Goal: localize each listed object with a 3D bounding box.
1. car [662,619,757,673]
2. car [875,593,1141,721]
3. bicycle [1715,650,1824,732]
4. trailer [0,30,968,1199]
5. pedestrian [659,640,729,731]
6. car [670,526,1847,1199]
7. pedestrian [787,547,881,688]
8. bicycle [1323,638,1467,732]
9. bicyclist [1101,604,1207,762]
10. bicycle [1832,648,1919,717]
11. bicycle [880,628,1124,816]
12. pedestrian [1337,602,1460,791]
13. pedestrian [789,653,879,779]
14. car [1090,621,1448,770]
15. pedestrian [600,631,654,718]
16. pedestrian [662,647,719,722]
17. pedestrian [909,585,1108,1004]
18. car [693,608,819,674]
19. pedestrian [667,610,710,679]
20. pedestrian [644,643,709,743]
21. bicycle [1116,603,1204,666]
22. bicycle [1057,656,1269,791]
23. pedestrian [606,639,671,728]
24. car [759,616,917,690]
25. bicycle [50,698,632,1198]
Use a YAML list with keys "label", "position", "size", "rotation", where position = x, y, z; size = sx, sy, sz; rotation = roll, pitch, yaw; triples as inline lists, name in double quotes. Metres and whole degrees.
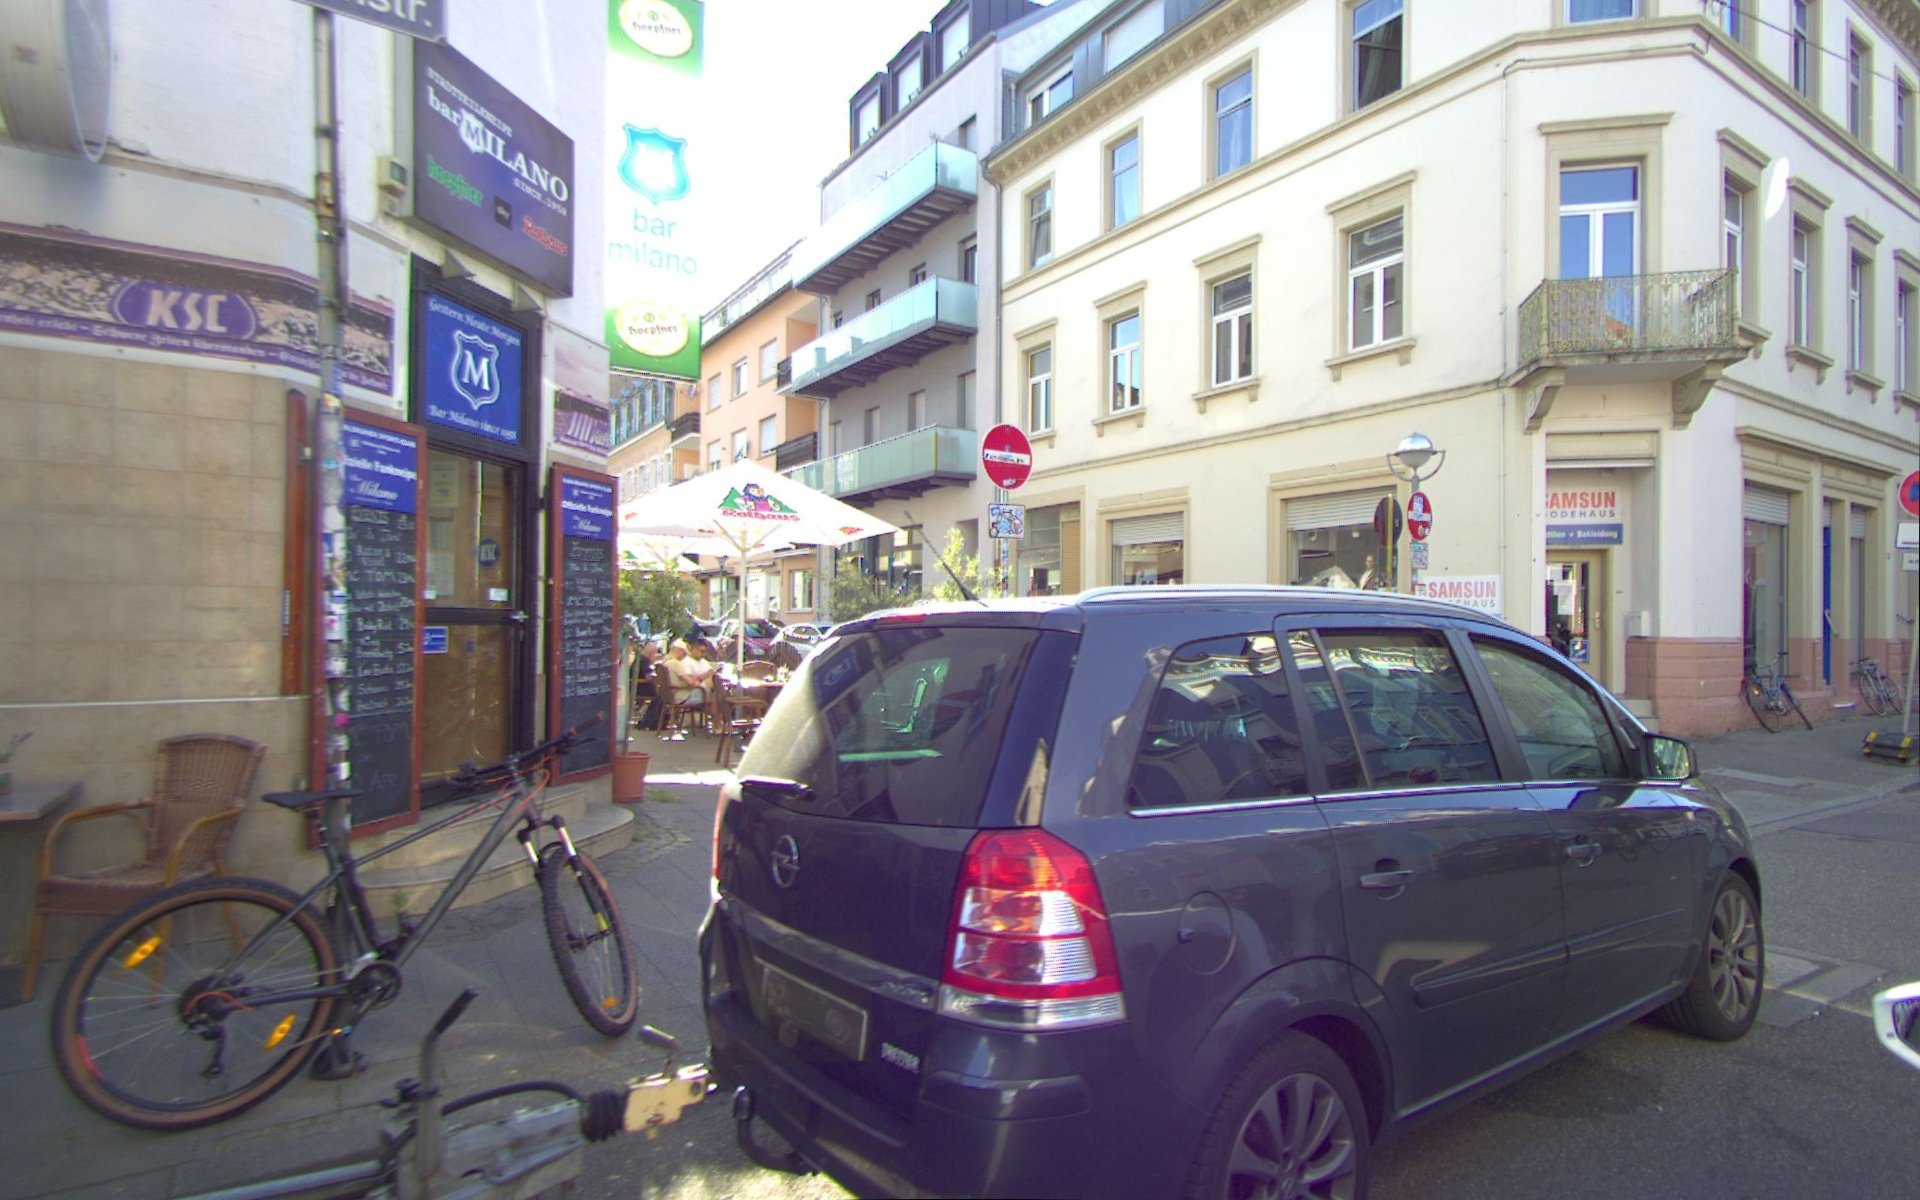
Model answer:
- label: "car"
  position: [-7.595, 1.340, 30.264]
  size: [1.583, 1.458, 3.548]
  rotation: [1, -1, -36]
- label: "car"
  position: [0.629, 0.855, 17.316]
  size: [1.839, 1.875, 5.050]
  rotation: [1, -1, -36]
- label: "bicycle"
  position: [11.274, 1.247, 13.975]
  size: [1.799, 1.036, 0.600]
  rotation: [2, 2, -33]
- label: "trailer"
  position: [-2.205, 0.465, 1.107]
  size: [4.322, 2.088, 1.650]
  rotation: [2, -3, -36]
- label: "pedestrian"
  position: [-3.579, 1.136, 13.547]
  size: [0.646, 1.160, 0.689]
  rotation: [2, 0, 11]
- label: "car"
  position: [1.302, 0.758, 3.471]
  size: [4.125, 1.626, 1.711]
  rotation: [1, -3, -35]
- label: "pedestrian"
  position: [-1.206, 0.165, 9.564]
  size: [0.652, 1.283, 0.683]
  rotation: [2, 0, -29]
- label: "bicycle"
  position: [6.093, 1.162, 14.202]
  size: [0.604, 1.164, 1.915]
  rotation: [2, 0, -26]
- label: "bicyclist"
  position: [1.898, 0.778, 9.797]
  size: [0.777, 1.455, 0.707]
  rotation: [0, -1, 38]
- label: "bicycle"
  position: [15.061, 1.334, 16.506]
  size: [1.798, 1.036, 0.618]
  rotation: [1, 0, -33]
- label: "bicycle"
  position: [0.272, 0.954, 8.818]
  size: [0.918, 1.377, 2.462]
  rotation: [1, -2, -32]
- label: "pedestrian"
  position: [4.327, 0.908, 9.920]
  size: [0.856, 1.725, 0.689]
  rotation: [-1, 5, -33]
- label: "pedestrian"
  position: [-1.400, 1.248, 11.120]
  size: [0.698, 1.283, 0.844]
  rotation: [2, 0, -29]
- label: "car"
  position: [3.655, 1.035, 12.568]
  size: [1.741, 1.475, 4.113]
  rotation: [1, -1, -34]
- label: "pedestrian"
  position: [-5.103, 1.134, 15.422]
  size: [0.603, 1.283, 0.660]
  rotation: [2, 0, -3]
- label: "pedestrian"
  position: [-4.080, 1.262, 15.191]
  size: [0.670, 1.068, 0.718]
  rotation: [2, 0, -29]
- label: "pedestrian"
  position: [0.200, 0.785, 4.412]
  size: [0.573, 1.666, 0.626]
  rotation: [3, -1, -26]
- label: "car"
  position: [-5.490, 1.017, 26.638]
  size: [1.753, 1.590, 4.370]
  rotation: [1, -1, -34]
- label: "pedestrian"
  position: [-6.806, 1.102, 25.178]
  size: [0.820, 1.672, 0.735]
  rotation: [2, 0, -35]
- label: "pedestrian"
  position: [-3.524, 1.133, 12.456]
  size: [0.671, 1.170, 0.656]
  rotation: [2, 0, -24]
- label: "bicycle"
  position: [3.810, 0.634, 19.314]
  size: [0.604, 1.137, 1.915]
  rotation: [2, 0, -26]
- label: "bicycle"
  position: [1.936, 1.140, 9.746]
  size: [1.905, 1.126, 0.707]
  rotation: [0, -1, 39]
- label: "pedestrian"
  position: [-4.445, 1.140, 13.909]
  size: [0.646, 1.160, 0.543]
  rotation: [2, 0, 11]
- label: "car"
  position: [-2.755, 1.084, 22.009]
  size: [1.742, 1.429, 3.926]
  rotation: [1, -1, -36]
- label: "bicycle"
  position: [-1.872, 0.937, 3.193]
  size: [1.449, 1.154, 0.571]
  rotation: [2, 0, -39]
